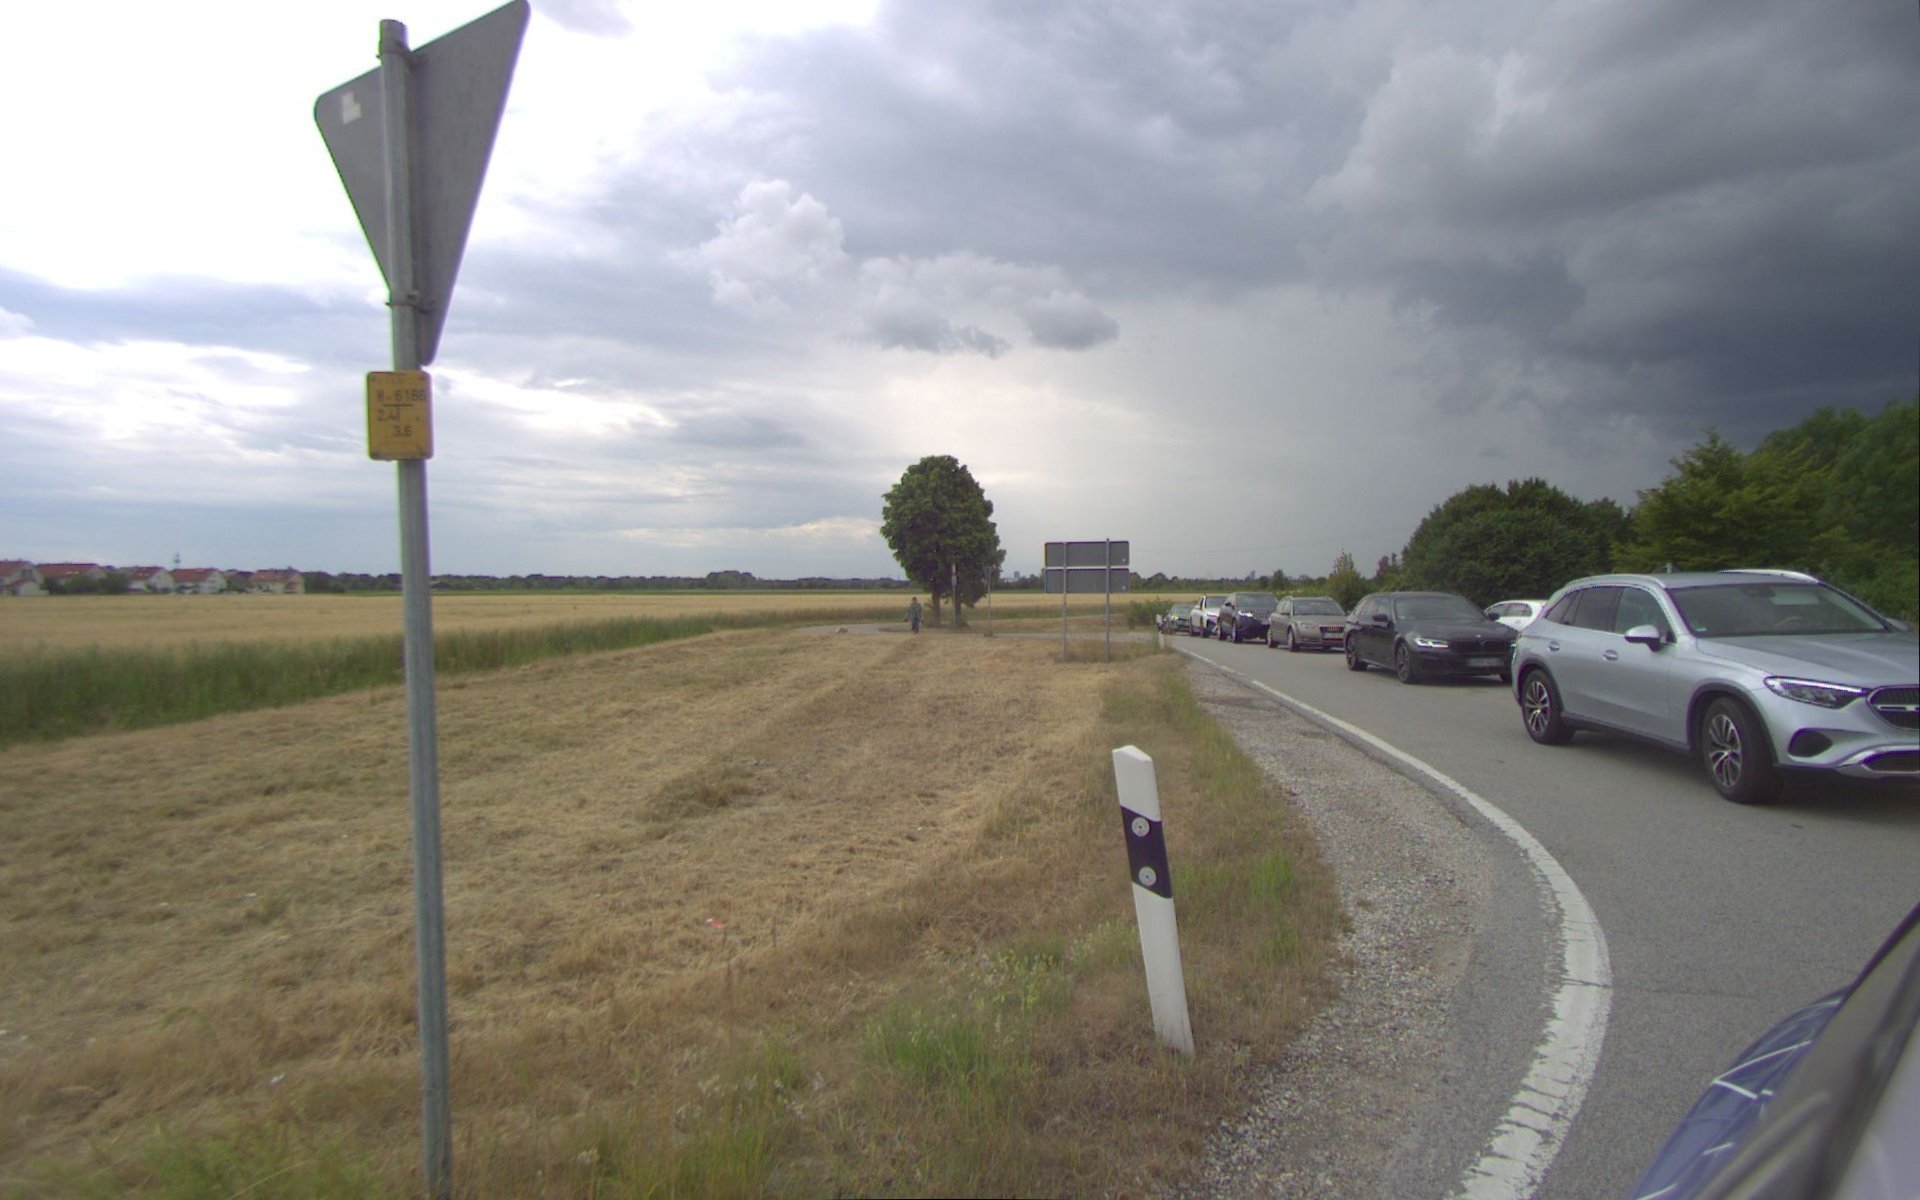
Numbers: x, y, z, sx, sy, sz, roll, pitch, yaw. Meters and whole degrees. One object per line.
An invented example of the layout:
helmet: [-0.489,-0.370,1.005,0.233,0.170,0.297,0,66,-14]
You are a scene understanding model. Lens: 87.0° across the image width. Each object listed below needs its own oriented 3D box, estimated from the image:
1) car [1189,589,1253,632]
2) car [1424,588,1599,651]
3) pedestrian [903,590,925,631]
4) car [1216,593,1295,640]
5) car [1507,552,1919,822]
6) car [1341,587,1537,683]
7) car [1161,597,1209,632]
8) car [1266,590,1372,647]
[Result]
car: [10.204,0.374,39.868,1.692,1.513,4.631,-2,1,6]
car: [14.251,0.434,26.490,1.736,1.469,4.399,0,1,-8]
pedestrian: [-1.894,0.418,41.411,0.757,1.631,0.947,0,0,-12]
car: [9.644,0.500,33.307,1.692,1.370,4.207,-2,1,6]
car: [6.410,0.477,8.223,1.964,1.606,4.385,-2,1,8]
car: [8.087,0.500,17.586,1.693,1.370,4.685,-2,1,8]
car: [10.681,0.655,48.243,1.692,1.513,4.207,-2,1,6]
car: [9.440,0.432,26.936,1.692,1.370,4.207,0,1,6]
